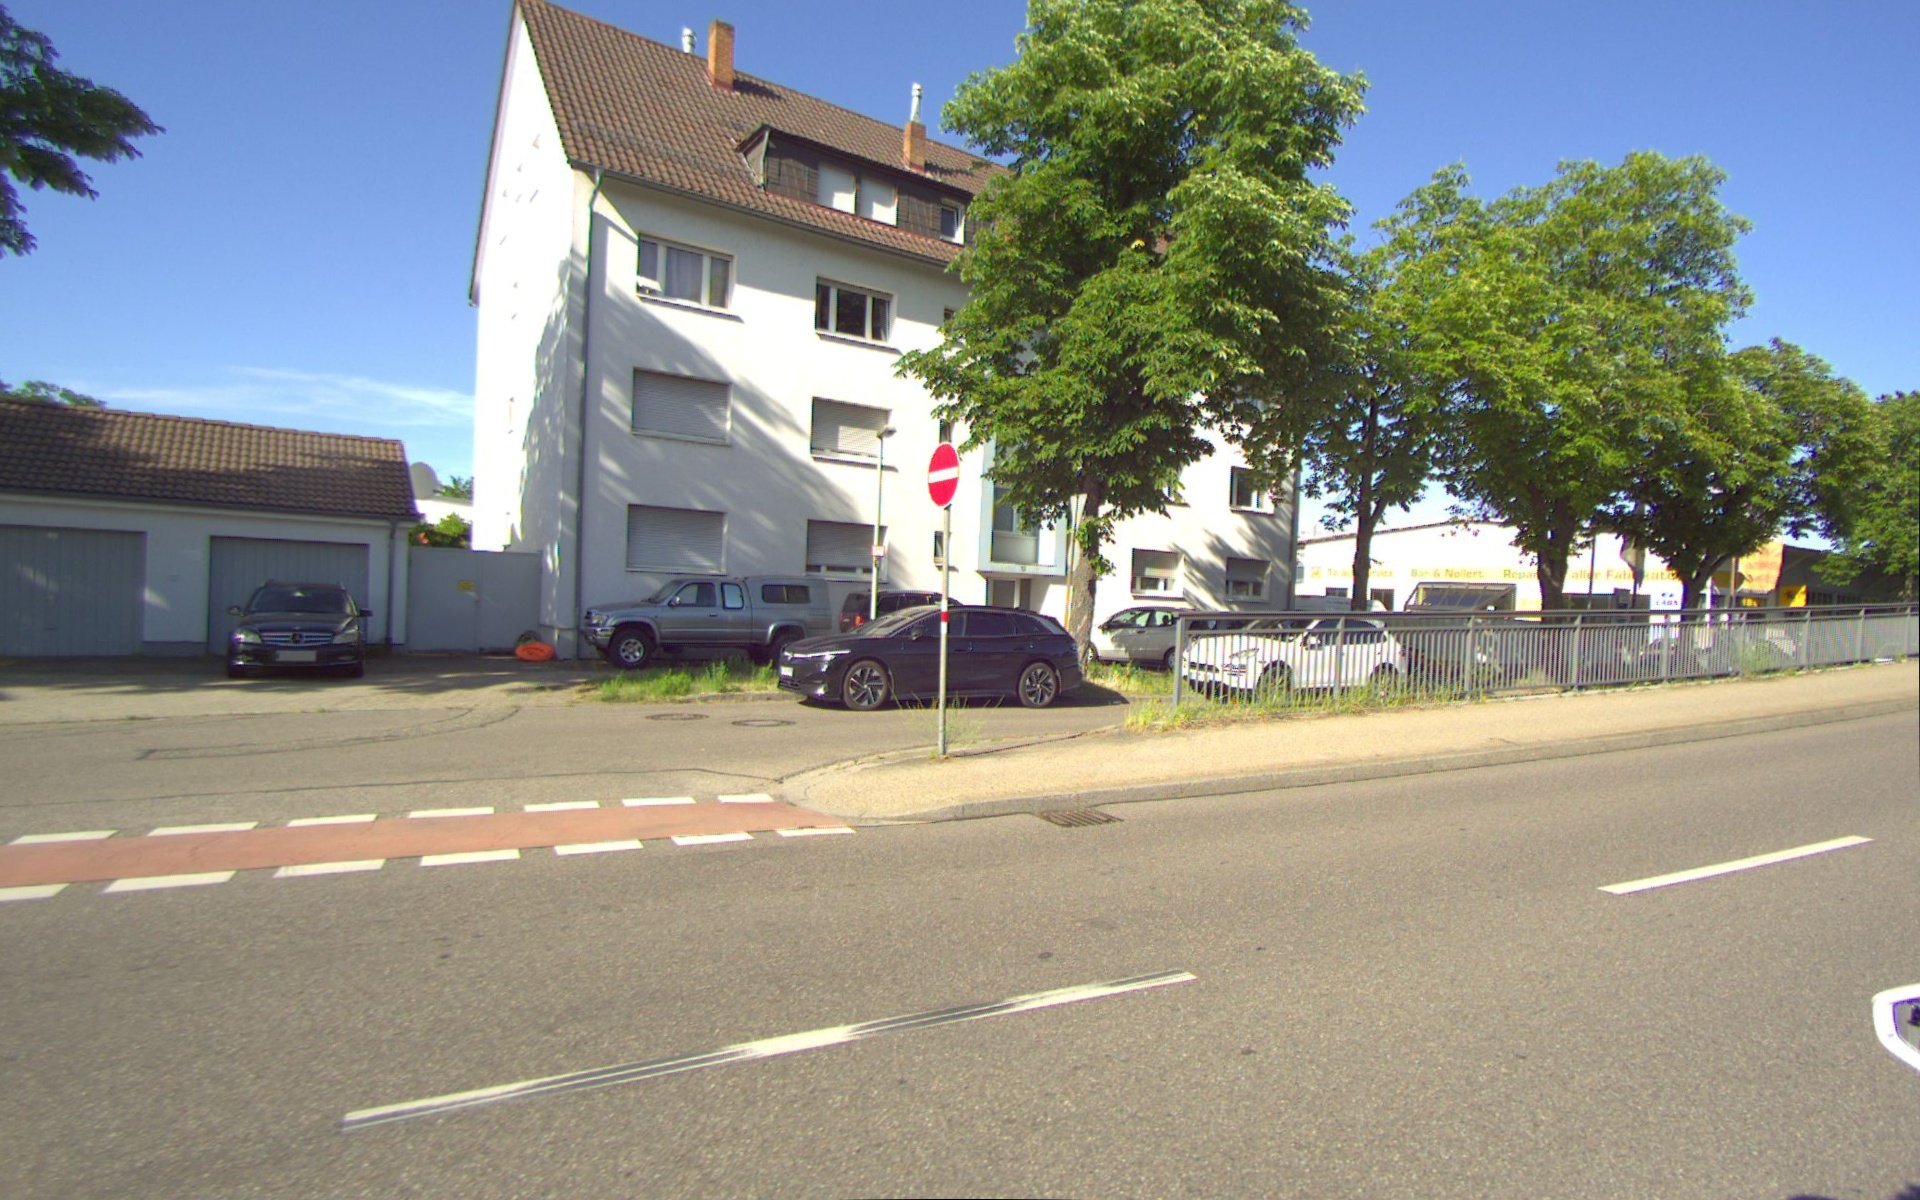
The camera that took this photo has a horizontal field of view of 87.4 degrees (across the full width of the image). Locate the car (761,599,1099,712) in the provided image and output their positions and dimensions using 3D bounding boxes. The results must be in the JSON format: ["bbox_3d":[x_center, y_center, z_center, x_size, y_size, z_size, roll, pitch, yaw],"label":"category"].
[{"bbox_3d":[-0.407,0.823,15.684,4.906,1.483,2.027,2,0,-31],"label":"car"}]

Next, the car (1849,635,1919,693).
[{"bbox_3d":[36.430,2.432,38.686,4.204,2.018,1.915,1,1,-28],"label":"car"}]

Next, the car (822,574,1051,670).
[{"bbox_3d":[-0.490,0.506,22.680,4.733,1.956,2.058,2,1,-31],"label":"car"}]

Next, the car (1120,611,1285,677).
[{"bbox_3d":[6.612,1.128,27.539,3.938,1.619,1.992,1,0,39],"label":"car"}]

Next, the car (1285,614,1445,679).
[{"bbox_3d":[11.939,1.321,29.809,1.881,1.605,3.969,1,1,-37],"label":"car"}]

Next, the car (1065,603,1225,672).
[{"bbox_3d":[4.697,0.904,25.619,3.607,1.530,1.780,2,1,33],"label":"car"}]

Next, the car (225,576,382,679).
[{"bbox_3d":[-10.824,0.400,16.583,1.889,1.448,3.962,3,0,-34],"label":"car"}]

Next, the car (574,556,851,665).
[{"bbox_3d":[-4.864,0.249,19.987,5.043,1.956,1.739,2,0,-30],"label":"car"}]

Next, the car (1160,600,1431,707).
[{"bbox_3d":[6.515,0.995,19.312,5.177,1.752,2.027,2,1,-31],"label":"car"}]

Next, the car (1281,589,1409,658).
[{"bbox_3d":[15.581,0.944,40.470,5.839,2.595,2.114,2,0,-39],"label":"car"}]
